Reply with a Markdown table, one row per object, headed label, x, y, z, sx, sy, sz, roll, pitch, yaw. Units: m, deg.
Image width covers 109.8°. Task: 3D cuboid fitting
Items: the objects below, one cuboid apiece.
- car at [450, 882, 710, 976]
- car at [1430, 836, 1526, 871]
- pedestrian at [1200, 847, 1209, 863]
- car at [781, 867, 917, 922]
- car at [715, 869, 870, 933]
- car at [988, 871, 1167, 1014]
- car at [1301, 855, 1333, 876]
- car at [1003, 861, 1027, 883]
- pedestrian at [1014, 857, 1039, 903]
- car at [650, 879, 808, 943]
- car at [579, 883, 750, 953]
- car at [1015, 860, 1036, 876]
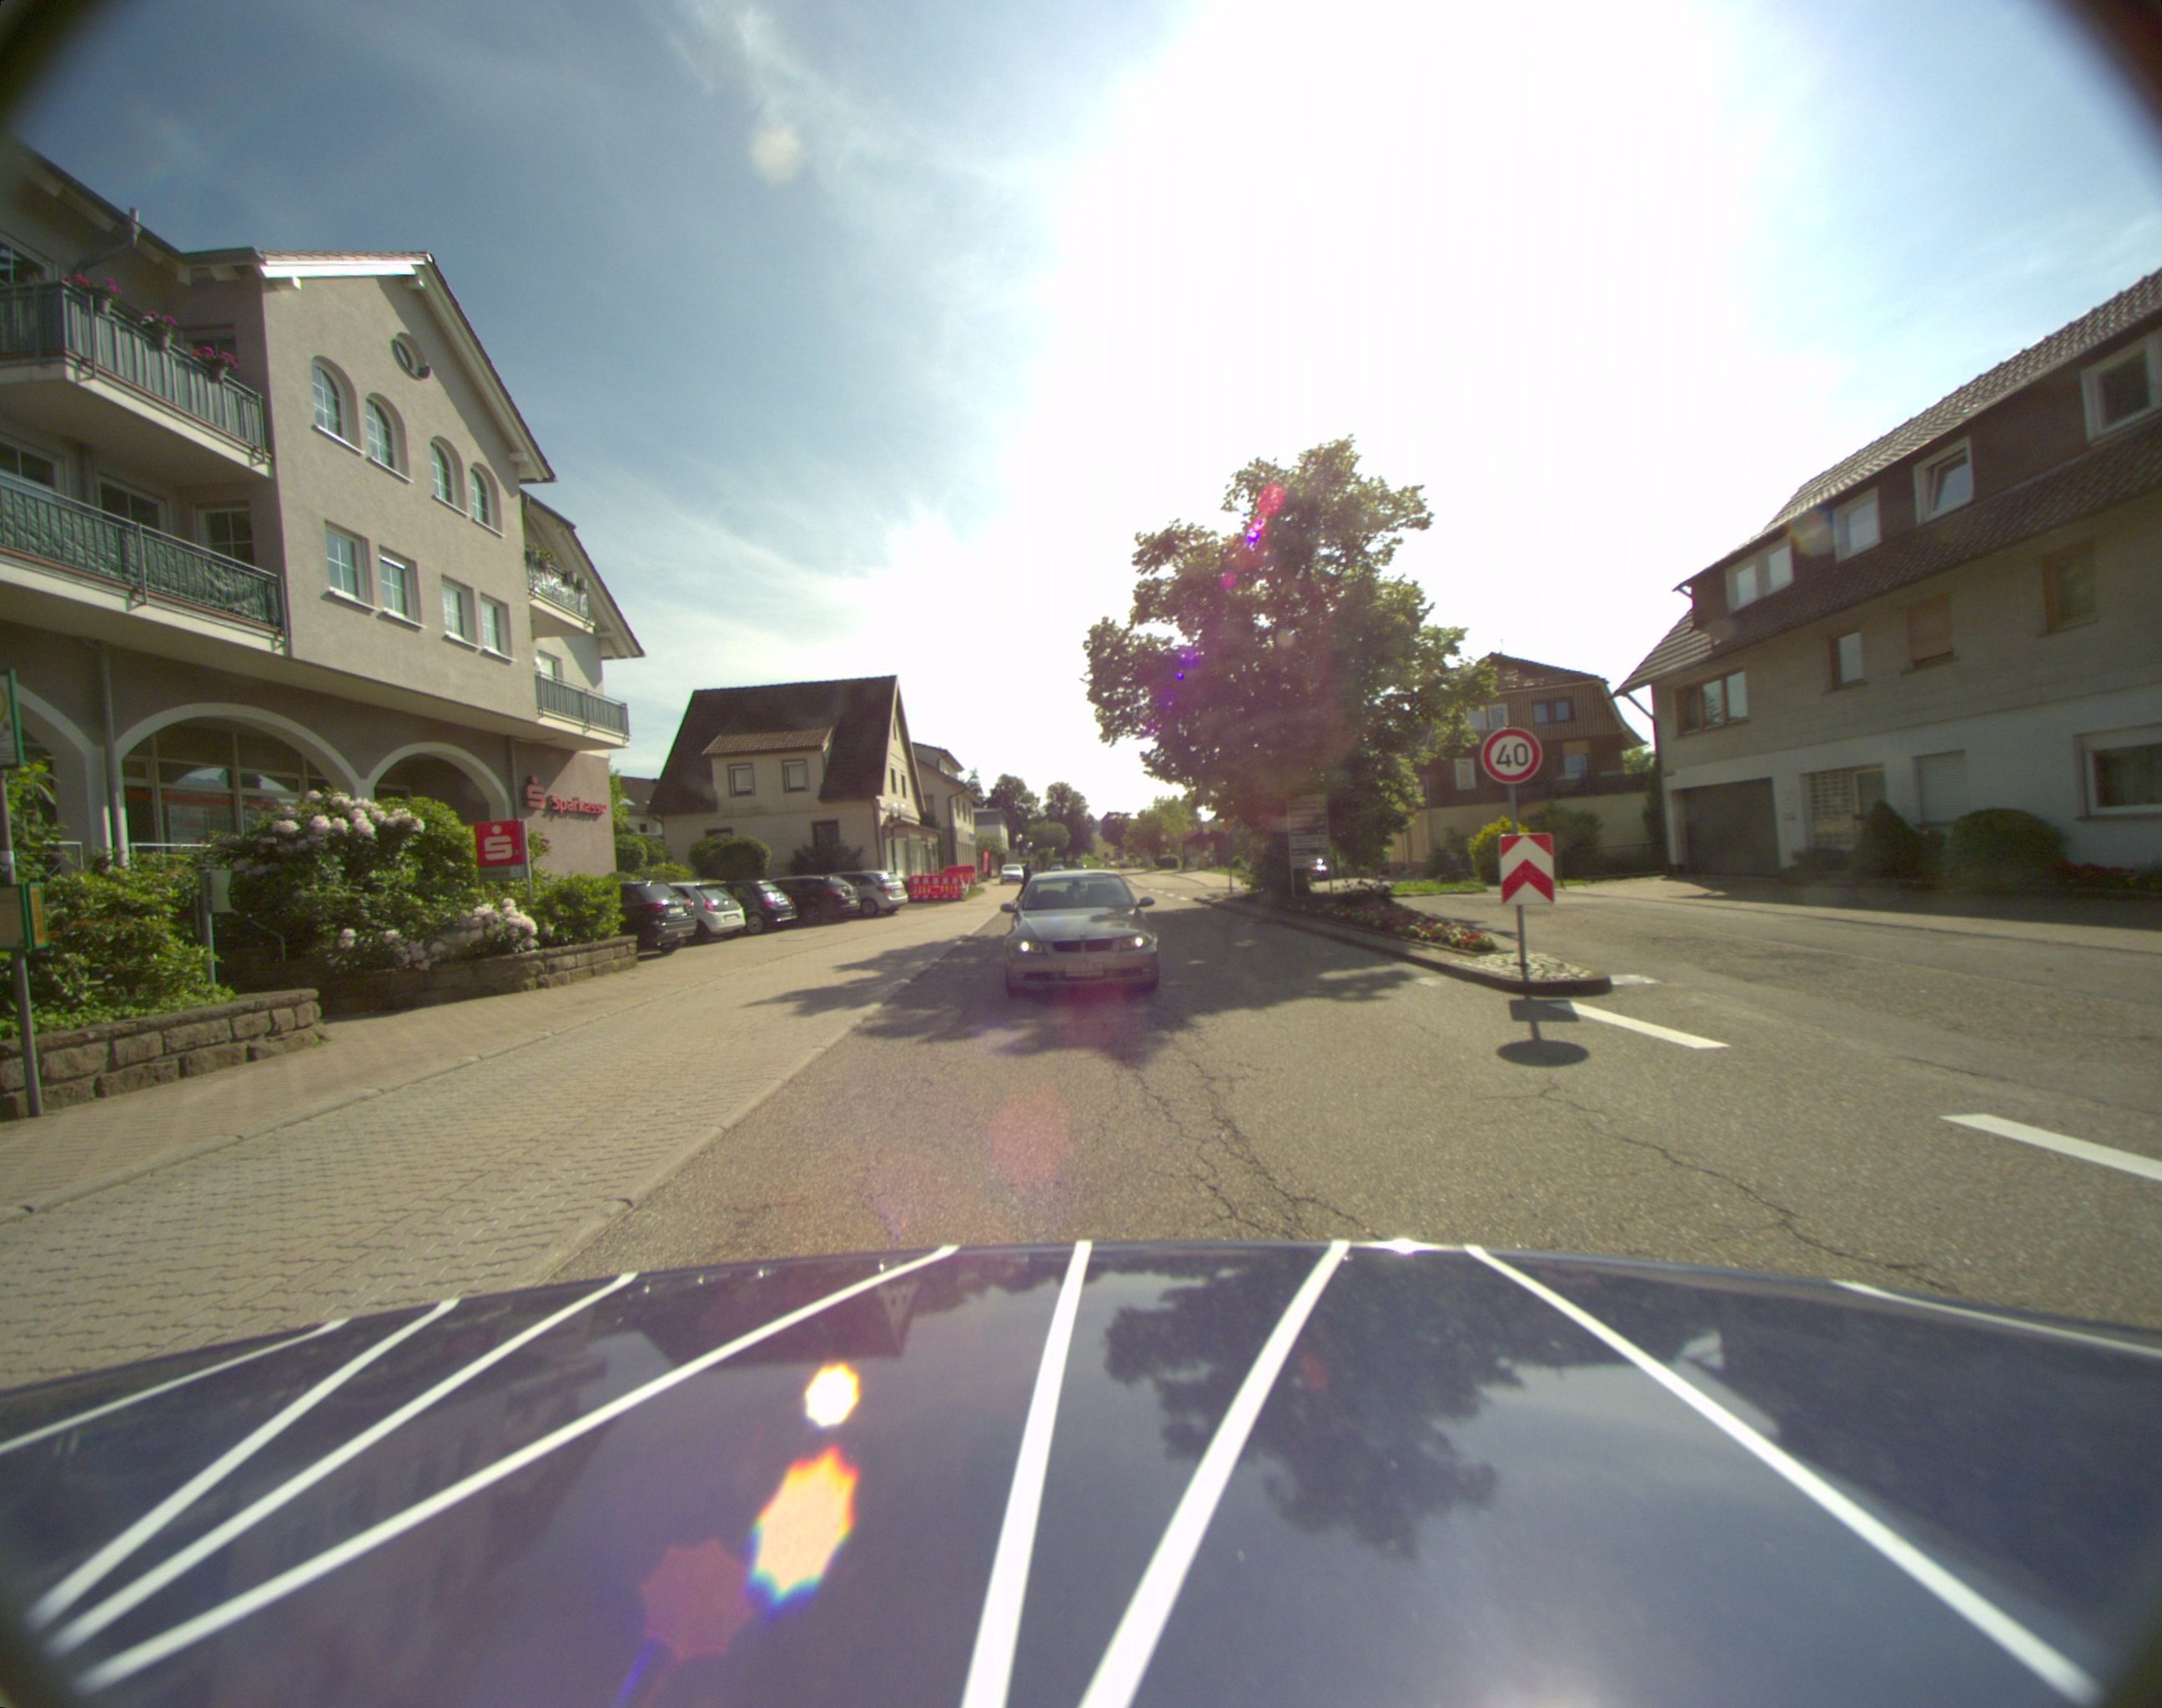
| label | x | y | z | sx | sy | sz | roll | pitch | yaw |
| --- | --- | --- | --- | --- | --- | --- | --- | --- | --- |
| car | -10.111 | 1.481 | 15.565 | 3.997 | 1.539 | 1.881 | -3 | 0 | 1 |
| car | 22.027 | -0.038 | 42.286 | 4.310 | 1.503 | 1.800 | -5 | 2 | 8 |
| pedestrian | 10.004 | 0.070 | 61.564 | 0.631 | 1.245 | 0.423 | -2 | 1 | -4 |
| car | -7.808 | 1.344 | 25.759 | 3.868 | 1.549 | 1.964 | -4 | 0 | 11 |
| car | -8.804 | 1.429 | 23.330 | 3.995 | 1.540 | 1.739 | -5 | 0 | 9 |
| car | -0.065 | 0.987 | 10.341 | 1.839 | 1.360 | 4.581 | -3 | 0 | -1 |
| car | 15.790 | 0.761 | 51.059 | 1.723 | 1.289 | 4.004 | -2 | 0 | 13 |
| car | -4.902 | 1.297 | 56.095 | 1.640 | 1.411 | 3.933 | -3 | 0 | -7 |
| pedestrian | -2.207 | 1.038 | 30.906 | 0.801 | 1.774 | 0.980 | -3 | 1 | 3 |
| car | -9.707 | 1.550 | 21.080 | 3.566 | 1.410 | 1.583 | -4 | 0 | 6 |
| car | -10.120 | 1.544 | 18.591 | 3.240 | 1.460 | 1.629 | -3 | 0 | 6 |
| car | -5.478 | 1.386 | 75.182 | 1.764 | 1.415 | 3.634 | -2 | 0 | 1 |
